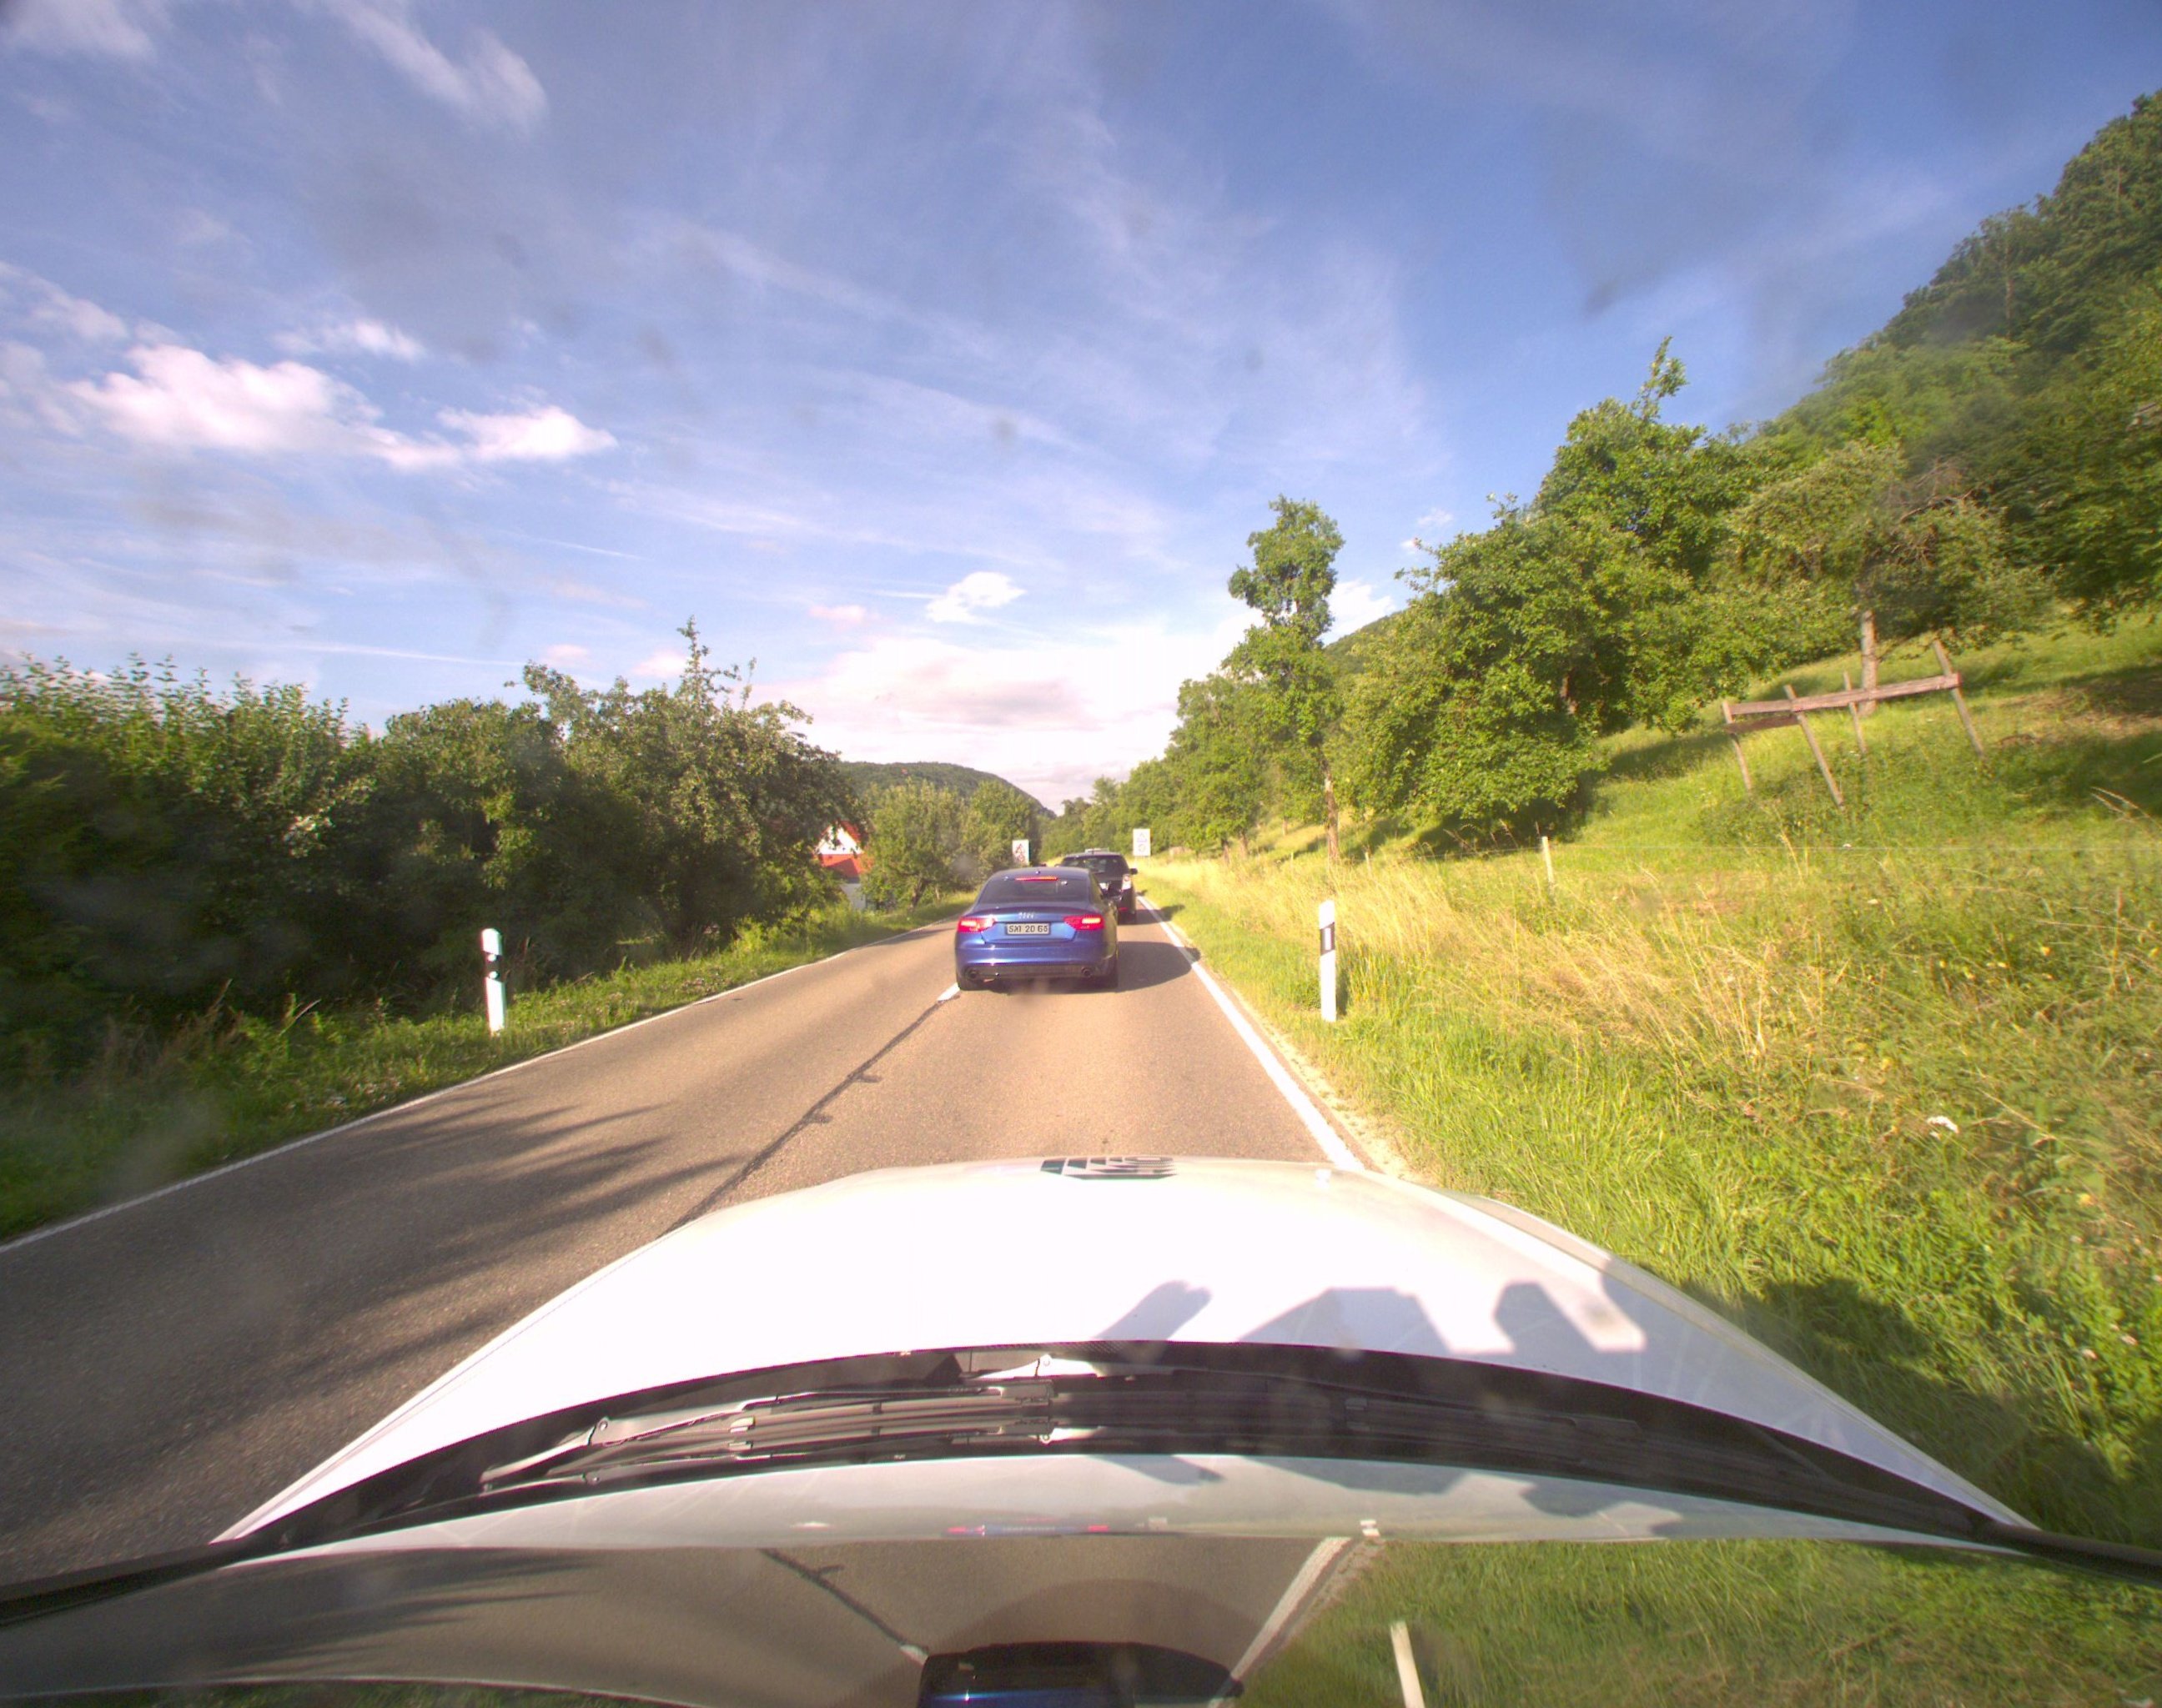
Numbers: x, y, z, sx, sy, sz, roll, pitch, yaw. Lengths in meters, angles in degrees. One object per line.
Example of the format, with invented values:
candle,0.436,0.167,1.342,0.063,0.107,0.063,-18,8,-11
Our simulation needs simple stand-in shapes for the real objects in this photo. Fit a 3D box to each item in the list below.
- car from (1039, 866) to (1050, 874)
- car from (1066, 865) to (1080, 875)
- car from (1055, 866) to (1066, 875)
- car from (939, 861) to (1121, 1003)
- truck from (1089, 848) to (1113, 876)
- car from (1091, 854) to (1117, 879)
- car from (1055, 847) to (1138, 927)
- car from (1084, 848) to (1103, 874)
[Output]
car,-7.413,3.233,164.823,1.559,1.496,3.764,0,0,-11
car,-1.275,2.449,127.219,1.746,1.496,3.770,0,0,-6
car,-3.642,2.859,142.243,1.557,1.496,3.769,0,0,-7
car,-0.441,0.805,10.354,1.799,1.382,4.216,-2,0,2
truck,1.692,0.663,70.169,1.943,2.345,5.094,0,0,1
car,1.592,0.854,56.051,1.686,1.624,3.790,-1,0,1
car,0.379,0.684,18.808,1.686,1.624,3.790,-1,0,1
car,1.199,0.650,79.882,1.787,2.453,3.917,0,0,-1
